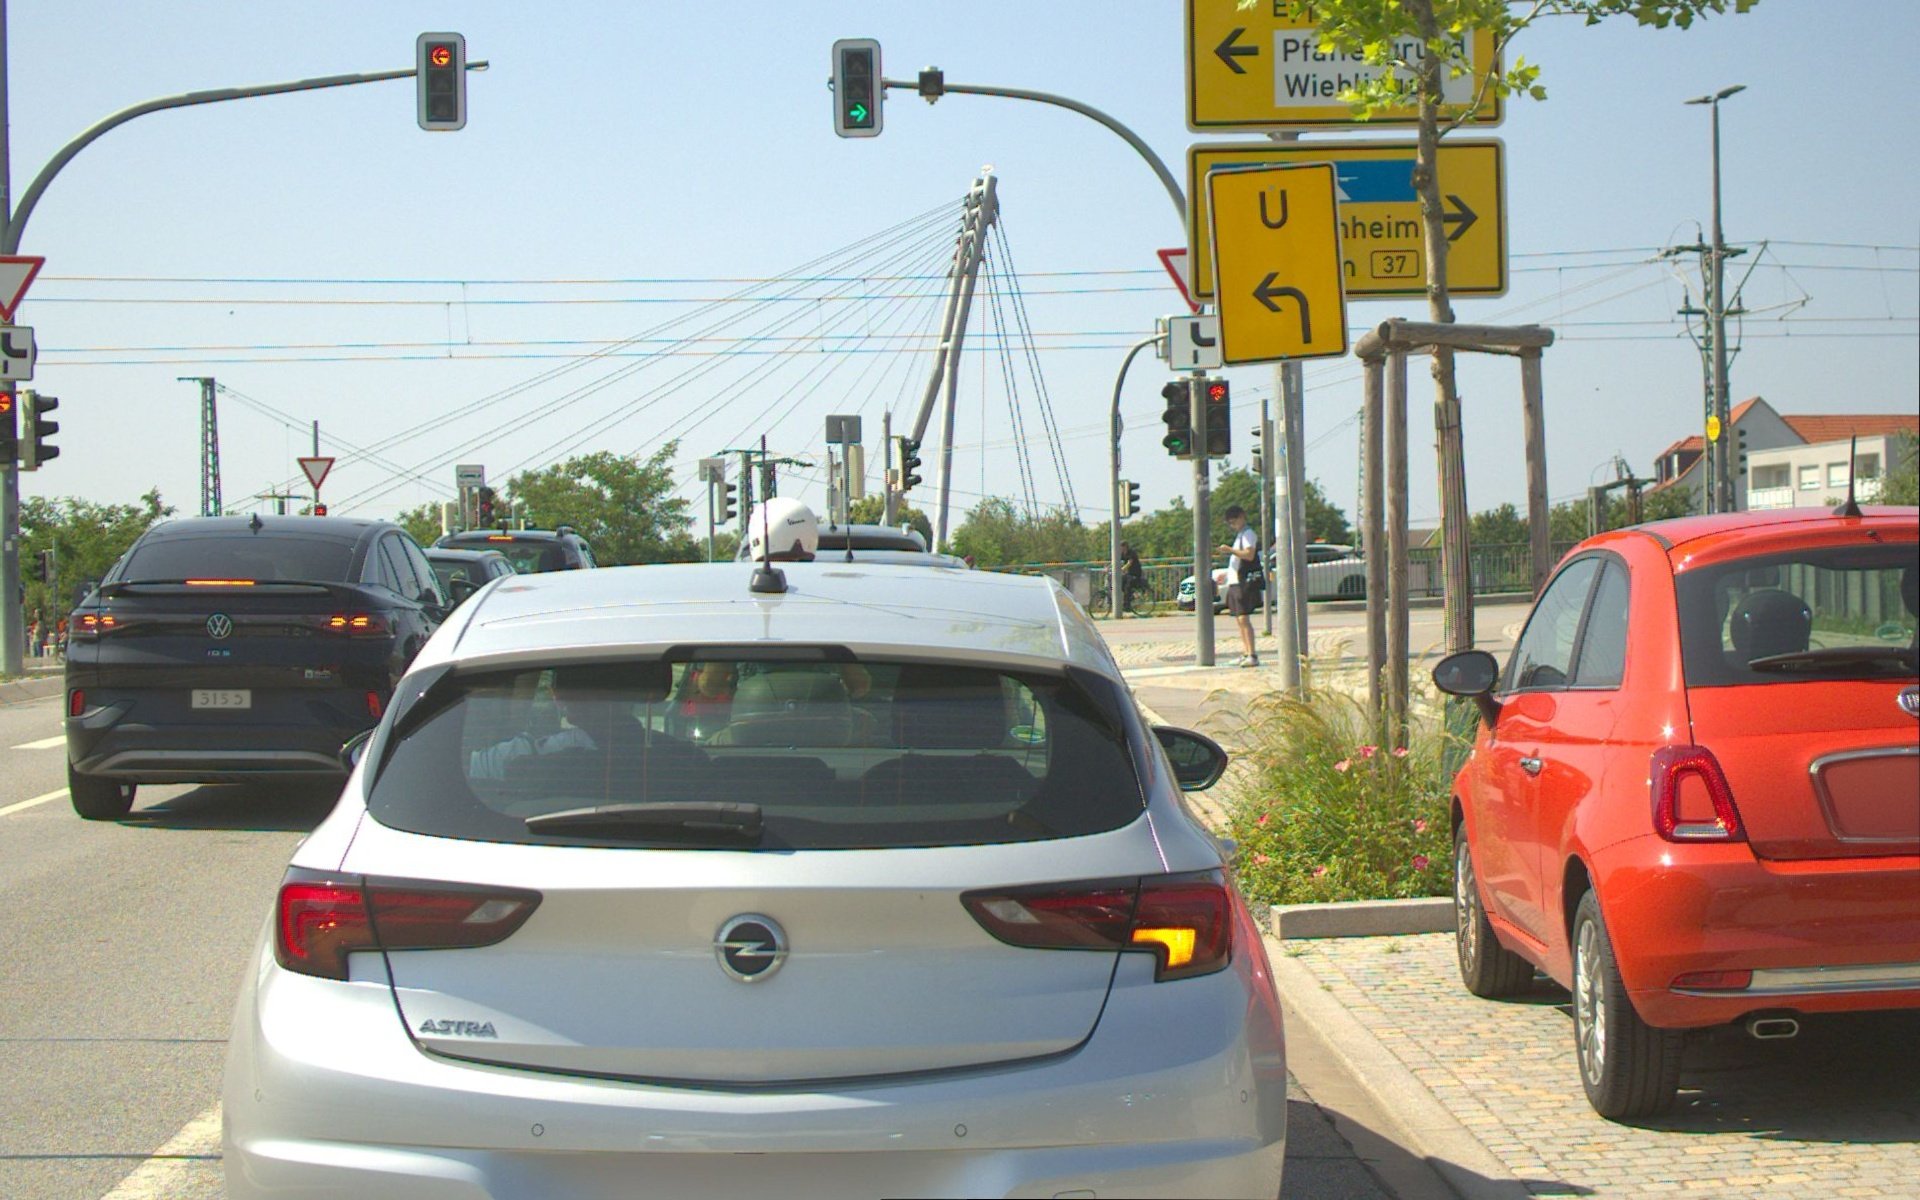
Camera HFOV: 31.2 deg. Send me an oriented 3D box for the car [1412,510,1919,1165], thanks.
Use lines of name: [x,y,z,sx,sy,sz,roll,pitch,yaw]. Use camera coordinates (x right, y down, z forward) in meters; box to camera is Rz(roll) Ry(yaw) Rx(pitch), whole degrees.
car: [2.318,0.516,9.752,1.610,1.491,3.352,-2,1,1]

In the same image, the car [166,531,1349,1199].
car: [-0.405,0.625,7.108,1.742,1.473,4.001,1,1,-3]

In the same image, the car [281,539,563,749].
car: [-3.934,0.288,25.631,1.575,1.429,3.786,1,1,-1]

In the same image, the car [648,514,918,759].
car: [-1.178,0.190,24.424,1.724,1.558,4.000,1,2,0]

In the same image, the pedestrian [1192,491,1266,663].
pedestrian: [2.925,-0.248,37.454,0.647,1.830,0.798,-2,0,-2]

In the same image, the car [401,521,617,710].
car: [-4.081,0.118,31.567,1.649,1.610,3.821,1,1,-3]

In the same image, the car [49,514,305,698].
car: [-6.985,0.033,30.975,1.597,1.542,3.763,1,1,-3]

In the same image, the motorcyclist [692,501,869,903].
motorcyclist: [-0.631,0.349,12.255,0.581,1.384,0.707,1,0,-1]

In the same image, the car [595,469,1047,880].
car: [-0.647,0.276,17.567,1.993,1.814,4.402,1,1,-1]

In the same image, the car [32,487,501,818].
car: [-3.768,0.243,19.420,1.801,1.636,4.366,1,1,-1]
